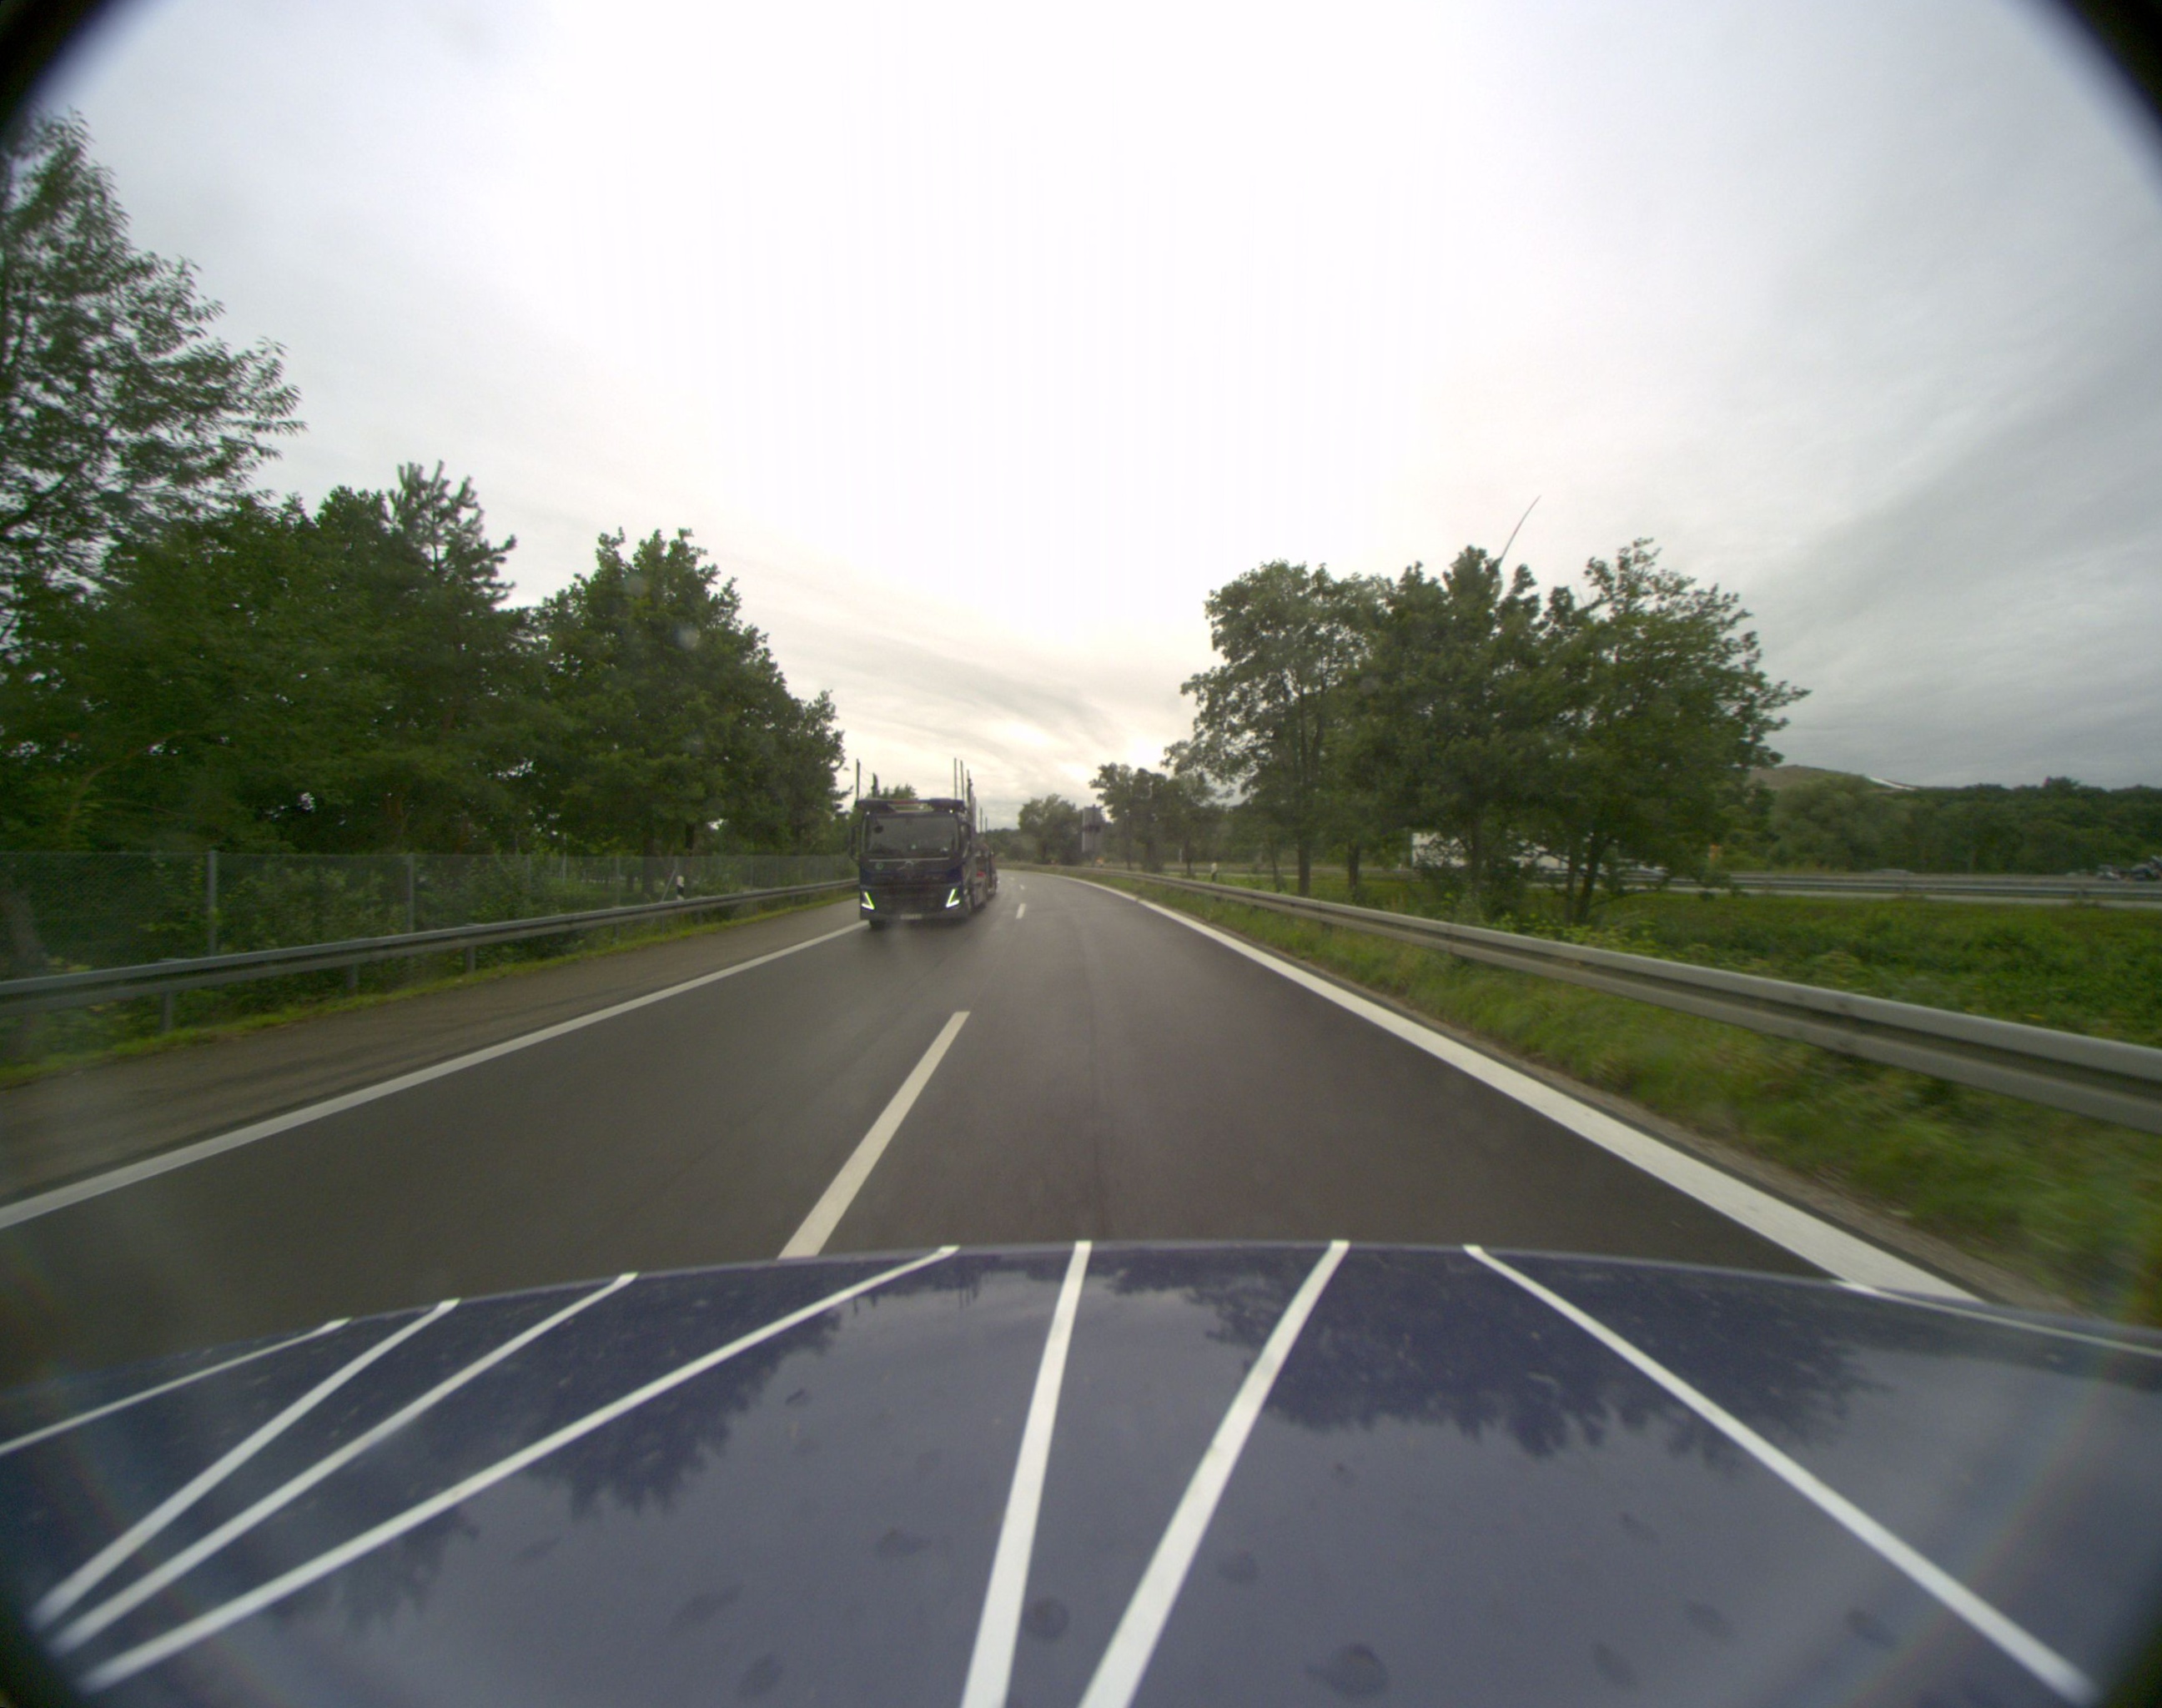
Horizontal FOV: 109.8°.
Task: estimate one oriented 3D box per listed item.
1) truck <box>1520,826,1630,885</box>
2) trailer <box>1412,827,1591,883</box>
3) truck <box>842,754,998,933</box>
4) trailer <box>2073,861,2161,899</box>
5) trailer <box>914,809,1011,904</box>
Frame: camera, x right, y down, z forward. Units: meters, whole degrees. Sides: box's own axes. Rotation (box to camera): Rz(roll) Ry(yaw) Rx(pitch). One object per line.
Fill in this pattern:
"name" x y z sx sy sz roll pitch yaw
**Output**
"truck" 36.572 0.140 56.509 2.779 4.111 6.432 0 0 -24
"trailer" 33.874 0.126 62.425 2.779 4.111 13.923 0 0 -24
"truck" -4.124 -0.200 21.705 2.746 3.944 9.126 -3 0 -3
"trailer" 47.299 1.131 33.737 1.890 1.617 3.603 -1 0 -24
"trailer" -4.561 0.125 31.448 2.785 3.265 10.405 -1 0 -2
